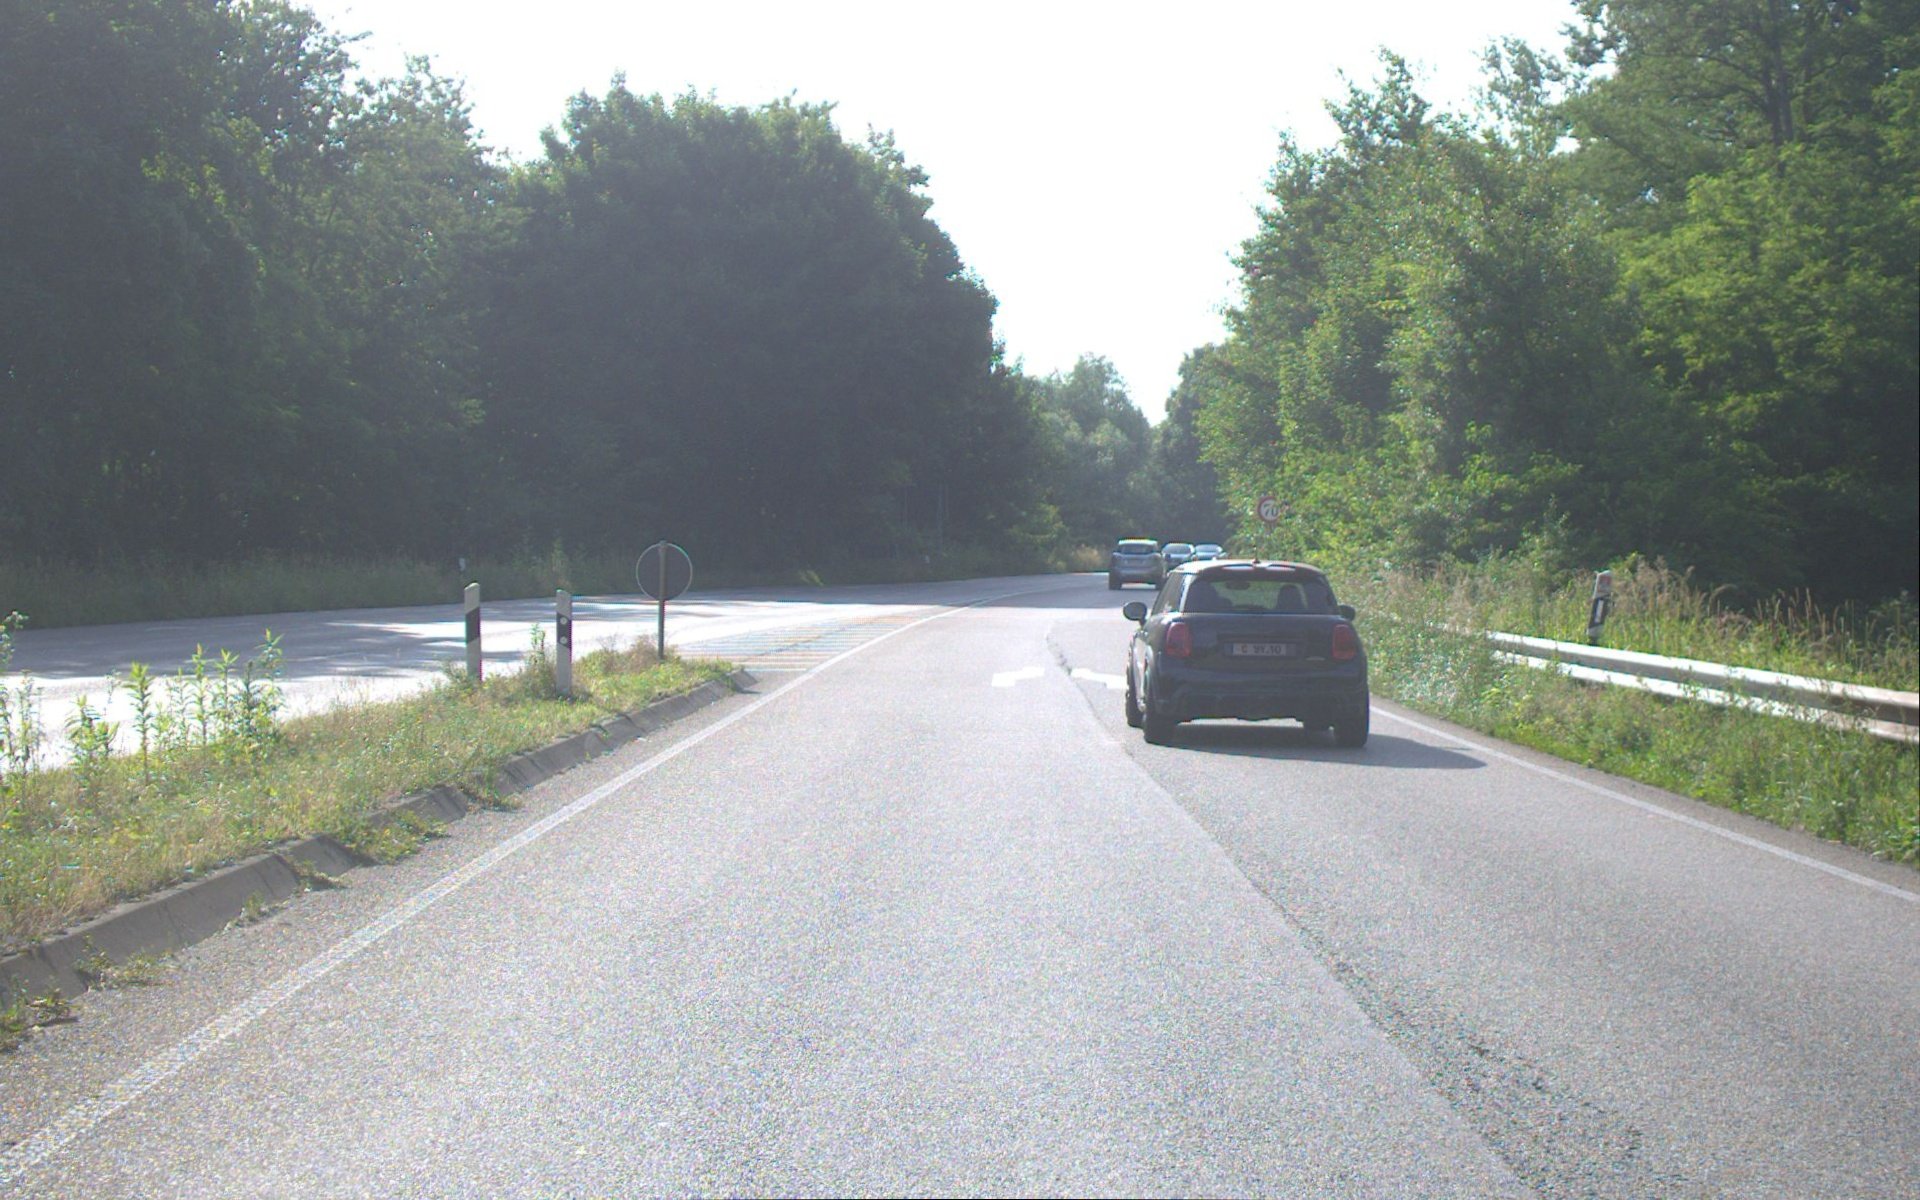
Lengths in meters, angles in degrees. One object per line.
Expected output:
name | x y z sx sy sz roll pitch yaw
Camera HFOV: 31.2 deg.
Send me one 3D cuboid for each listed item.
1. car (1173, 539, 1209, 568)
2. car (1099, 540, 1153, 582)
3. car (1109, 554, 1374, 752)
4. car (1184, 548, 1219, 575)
car | 11.831 -2.379 176.444 1.761 1.375 3.971 1 0 3
car | 5.647 -1.313 116.982 1.761 1.375 3.971 1 0 2
car | 2.215 0.405 27.966 1.819 1.463 3.873 1 0 0
car | 13.277 -2.103 189.042 1.761 1.375 3.971 1 0 2
